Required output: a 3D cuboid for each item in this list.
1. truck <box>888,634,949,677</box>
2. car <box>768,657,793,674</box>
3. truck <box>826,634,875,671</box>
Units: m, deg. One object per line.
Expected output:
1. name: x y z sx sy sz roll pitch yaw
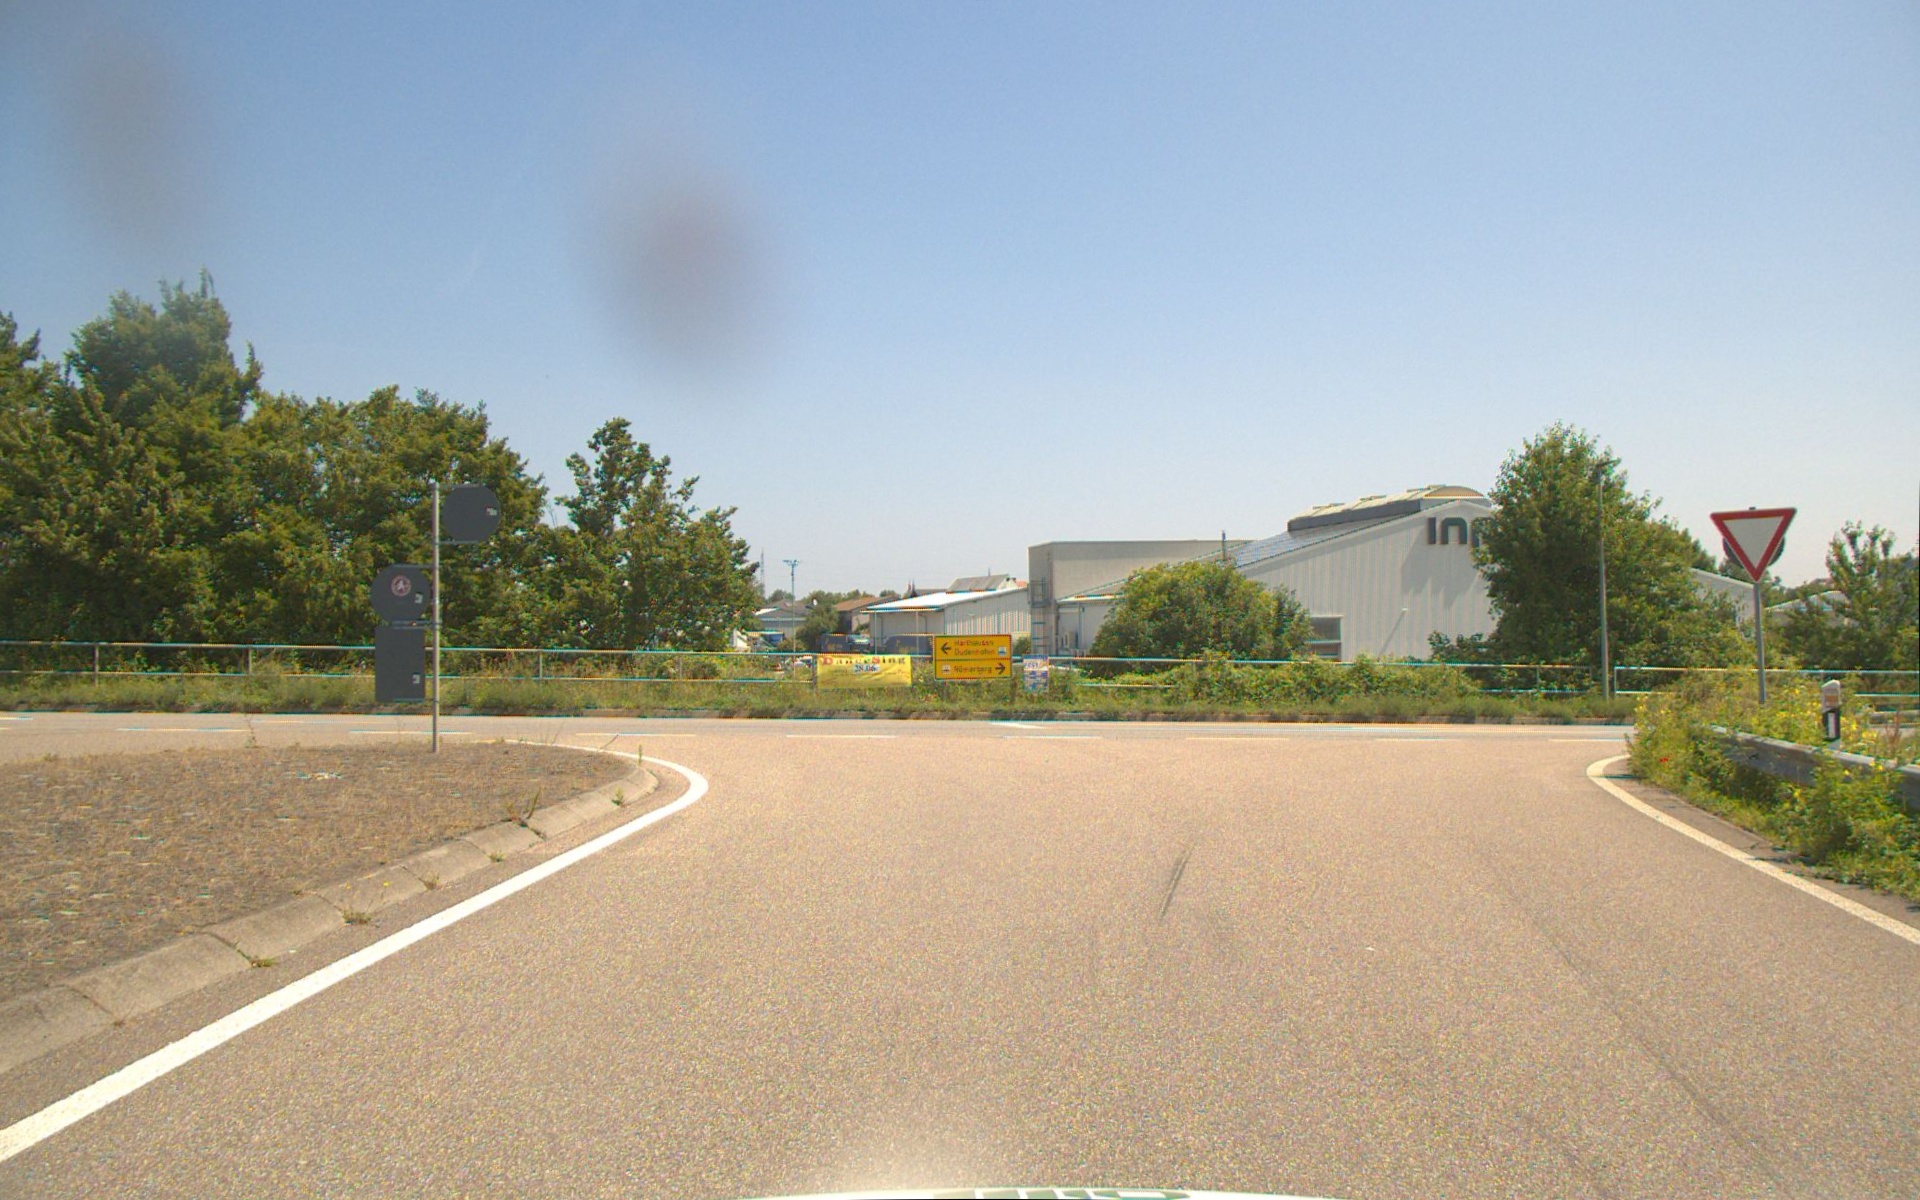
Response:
1. truck: -4.472 5.790 174.167 3.646 4.387 13.289 1 -2 -14
2. car: -20.493 7.474 188.885 1.961 1.761 4.840 1 -2 -16
3. truck: -13.787 6.545 207.144 3.356 4.387 14.530 1 -2 -15
